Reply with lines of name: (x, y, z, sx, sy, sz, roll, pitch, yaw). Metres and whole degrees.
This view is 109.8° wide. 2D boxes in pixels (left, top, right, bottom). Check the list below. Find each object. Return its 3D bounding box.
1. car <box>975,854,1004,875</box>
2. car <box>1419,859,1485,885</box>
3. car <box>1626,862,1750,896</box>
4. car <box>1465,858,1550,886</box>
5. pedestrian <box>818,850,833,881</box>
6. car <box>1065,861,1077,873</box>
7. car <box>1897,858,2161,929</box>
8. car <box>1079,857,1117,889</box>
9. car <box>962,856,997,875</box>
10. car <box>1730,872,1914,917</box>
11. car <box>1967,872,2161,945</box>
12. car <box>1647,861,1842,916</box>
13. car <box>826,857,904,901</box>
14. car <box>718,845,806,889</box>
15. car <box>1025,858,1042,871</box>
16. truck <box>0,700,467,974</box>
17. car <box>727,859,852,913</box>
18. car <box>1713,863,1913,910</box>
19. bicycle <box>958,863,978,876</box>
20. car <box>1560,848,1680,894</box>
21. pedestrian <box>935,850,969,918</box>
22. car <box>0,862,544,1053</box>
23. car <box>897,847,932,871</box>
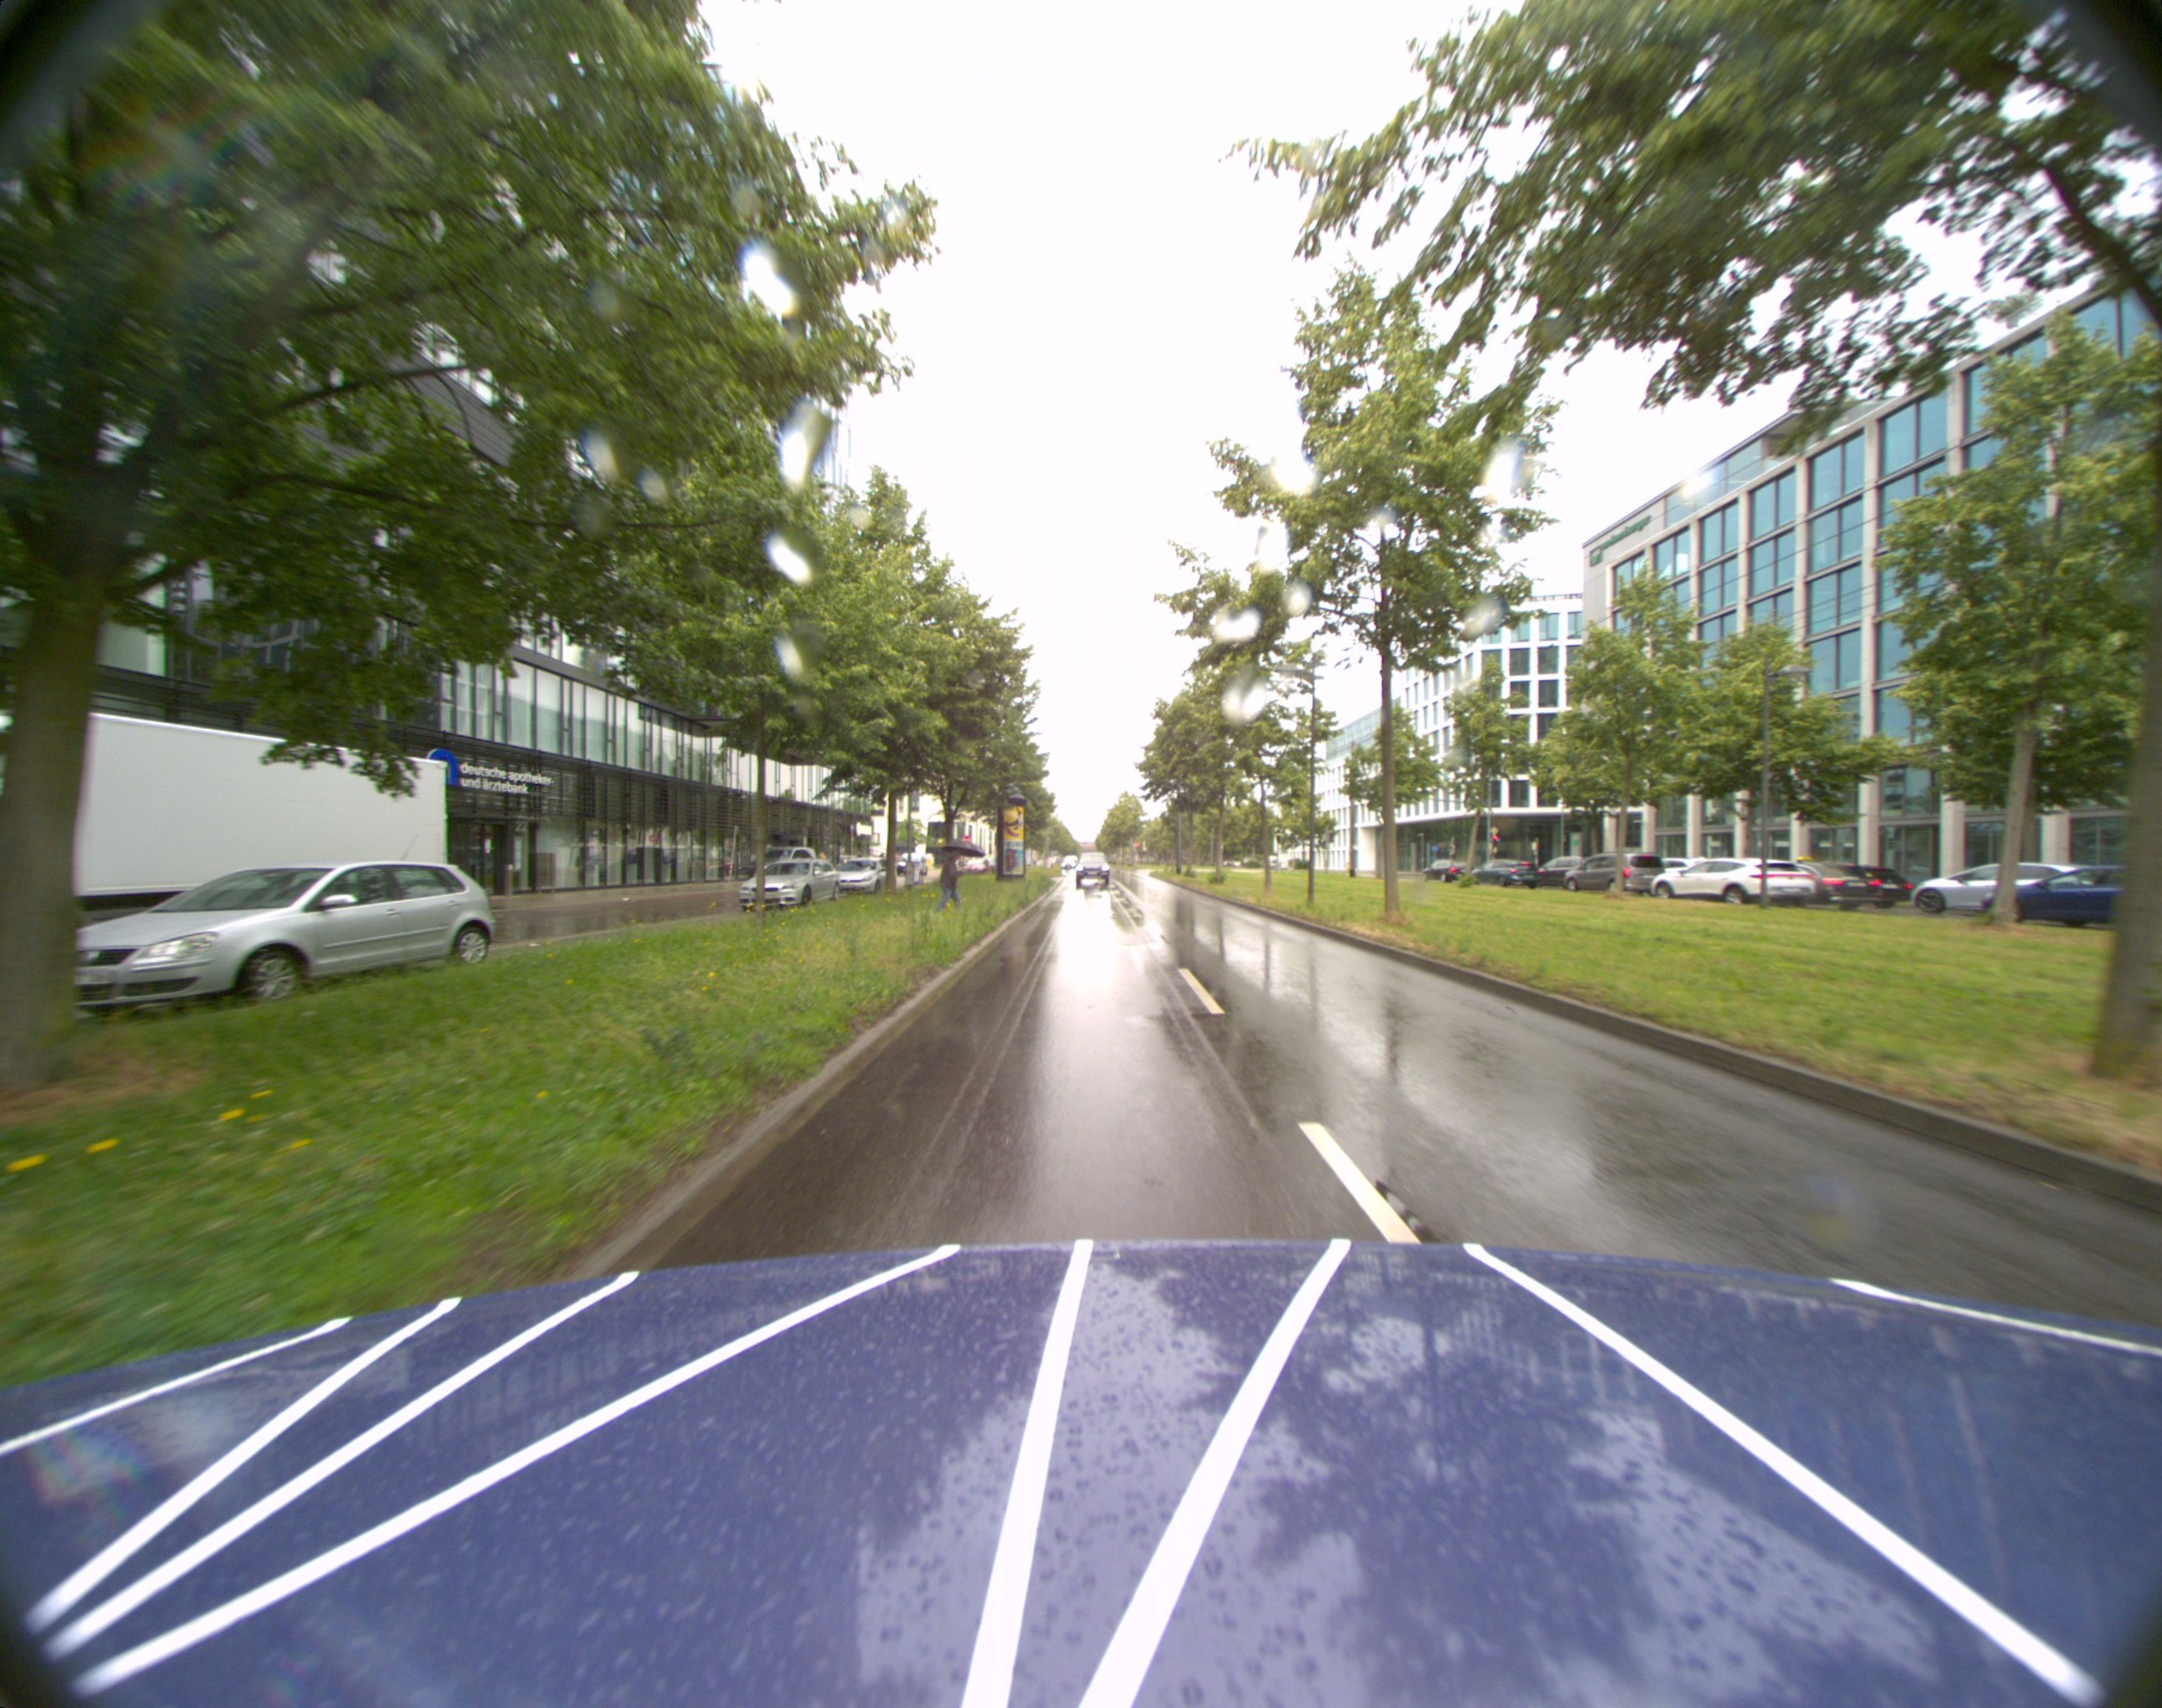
car: (-7.925, 0.922, 66.301, 1.998, 1.697, 4.219, 0, -2, 0)
car: (23.061, 1.140, 47.462, 1.955, 1.549, 4.465, 0, -1, 0)
car: (26.279, 1.104, 33.111, 1.956, 1.377, 4.273, 0, -2, -1)
car: (22.535, 1.000, 40.386, 1.956, 1.377, 4.474, 1, -2, -1)
pedestrian: (-14.434, 0.636, 42.904, 0.581, 1.728, 0.803, -1, -2, -1)
car: (-1.365, 1.790, 103.933, 1.687, 1.520, 3.970, 0, -2, -1)
car: (26.120, 1.062, 21.061, 1.956, 1.735, 4.635, 0, -2, -1)
car: (0.955, 0.998, 41.880, 1.928, 1.650, 4.716, 1, 0, 2)
car: (-8.000, 0.910, 60.053, 1.998, 1.446, 4.960, 0, 0, 1)
car: (25.718, 1.379, 26.649, 1.863, 1.437, 4.626, 0, -2, -1)
car: (22.806, 1.156, 16.719, 1.956, 1.485, 3.963, 0, -2, -1)
car: (19.830, 0.976, 23.032, 1.955, 1.444, 4.576, 0, 0, 1)
car: (-8.251, 0.979, 29.352, 1.765, 1.586, 4.102, 0, -2, 1)
car: (-14.683, 0.557, 35.293, 1.999, 1.909, 5.148, 0, 0, -1)
car: (-6.670, 1.478, 107.468, 1.998, 1.697, 4.840, 0, -2, 0)
truck: (-15.142, -0.202, 12.683, 3.032, 3.421, 8.546, 0, 0, -2)
car: (-8.800, 0.907, 23.497, 1.999, 1.436, 5.236, 0, 0, -2)
car: (23.169, 1.037, 24.370, 1.956, 1.377, 4.606, 0, -2, 0)
bicycle: (-7.767, 1.066, 52.153, 1.458, 0.911, 0.434, -1, -2, 33)
car: (22.940, 0.727, 32.605, 1.955, 1.837, 4.544, 0, -1, 0)
pedestrian: (-2.891, 0.661, 17.073, 0.643, 1.484, 0.700, 0, 0, -1)
car: (-8.823, 0.921, 8.863, 1.774, 1.443, 4.722, -3, 1, -2)
car: (-13.282, 0.402, 60.926, 1.898, 1.855, 4.723, 0, -1, -2)
